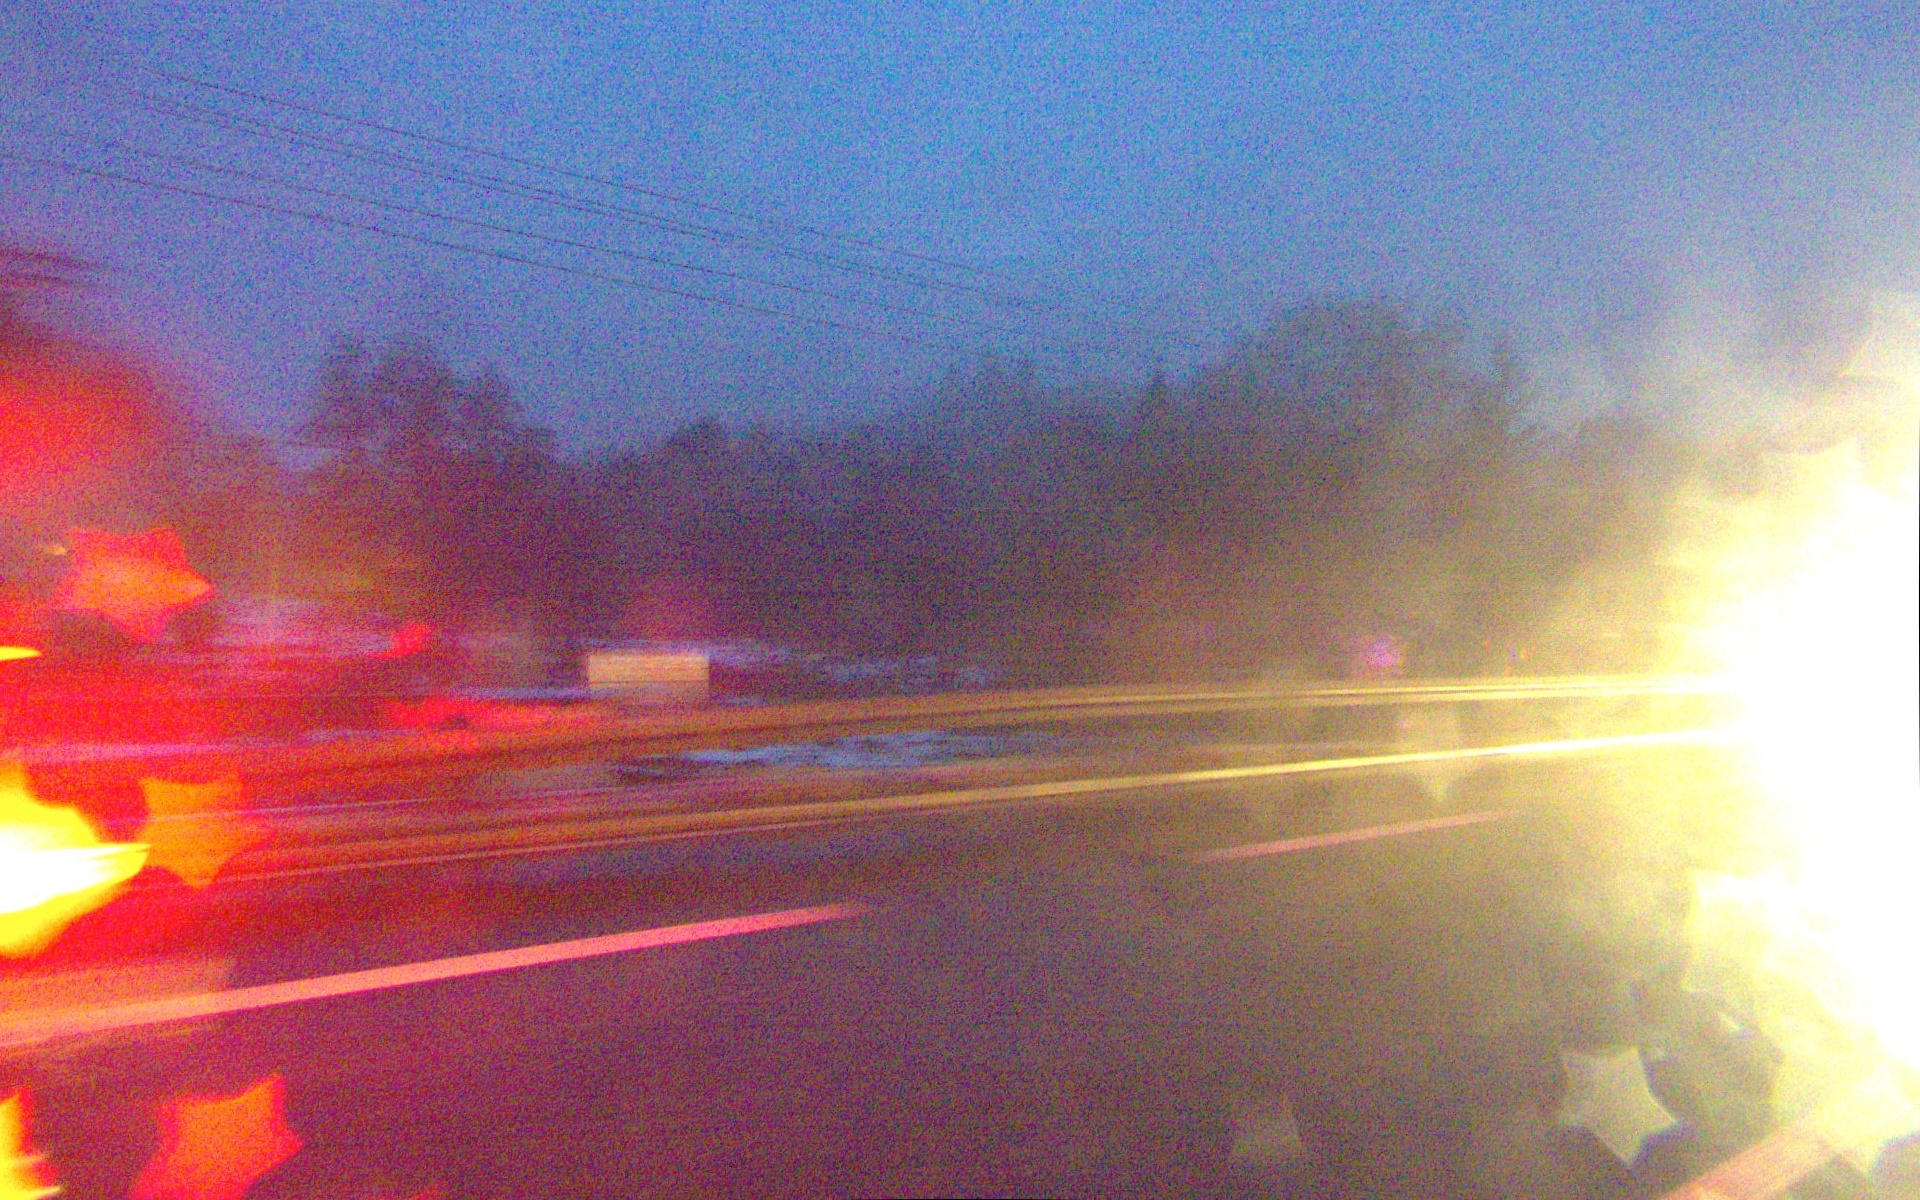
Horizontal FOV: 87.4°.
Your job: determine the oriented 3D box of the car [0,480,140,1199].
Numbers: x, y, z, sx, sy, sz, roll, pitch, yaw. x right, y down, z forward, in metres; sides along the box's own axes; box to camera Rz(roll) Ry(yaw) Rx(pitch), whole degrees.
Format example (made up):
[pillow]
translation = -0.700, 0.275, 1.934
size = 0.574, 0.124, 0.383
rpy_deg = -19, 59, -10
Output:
[car]
translation = -3.733, 0.548, 1.214
size = 3.953, 1.607, 1.880
rpy_deg = 1, -2, -30
